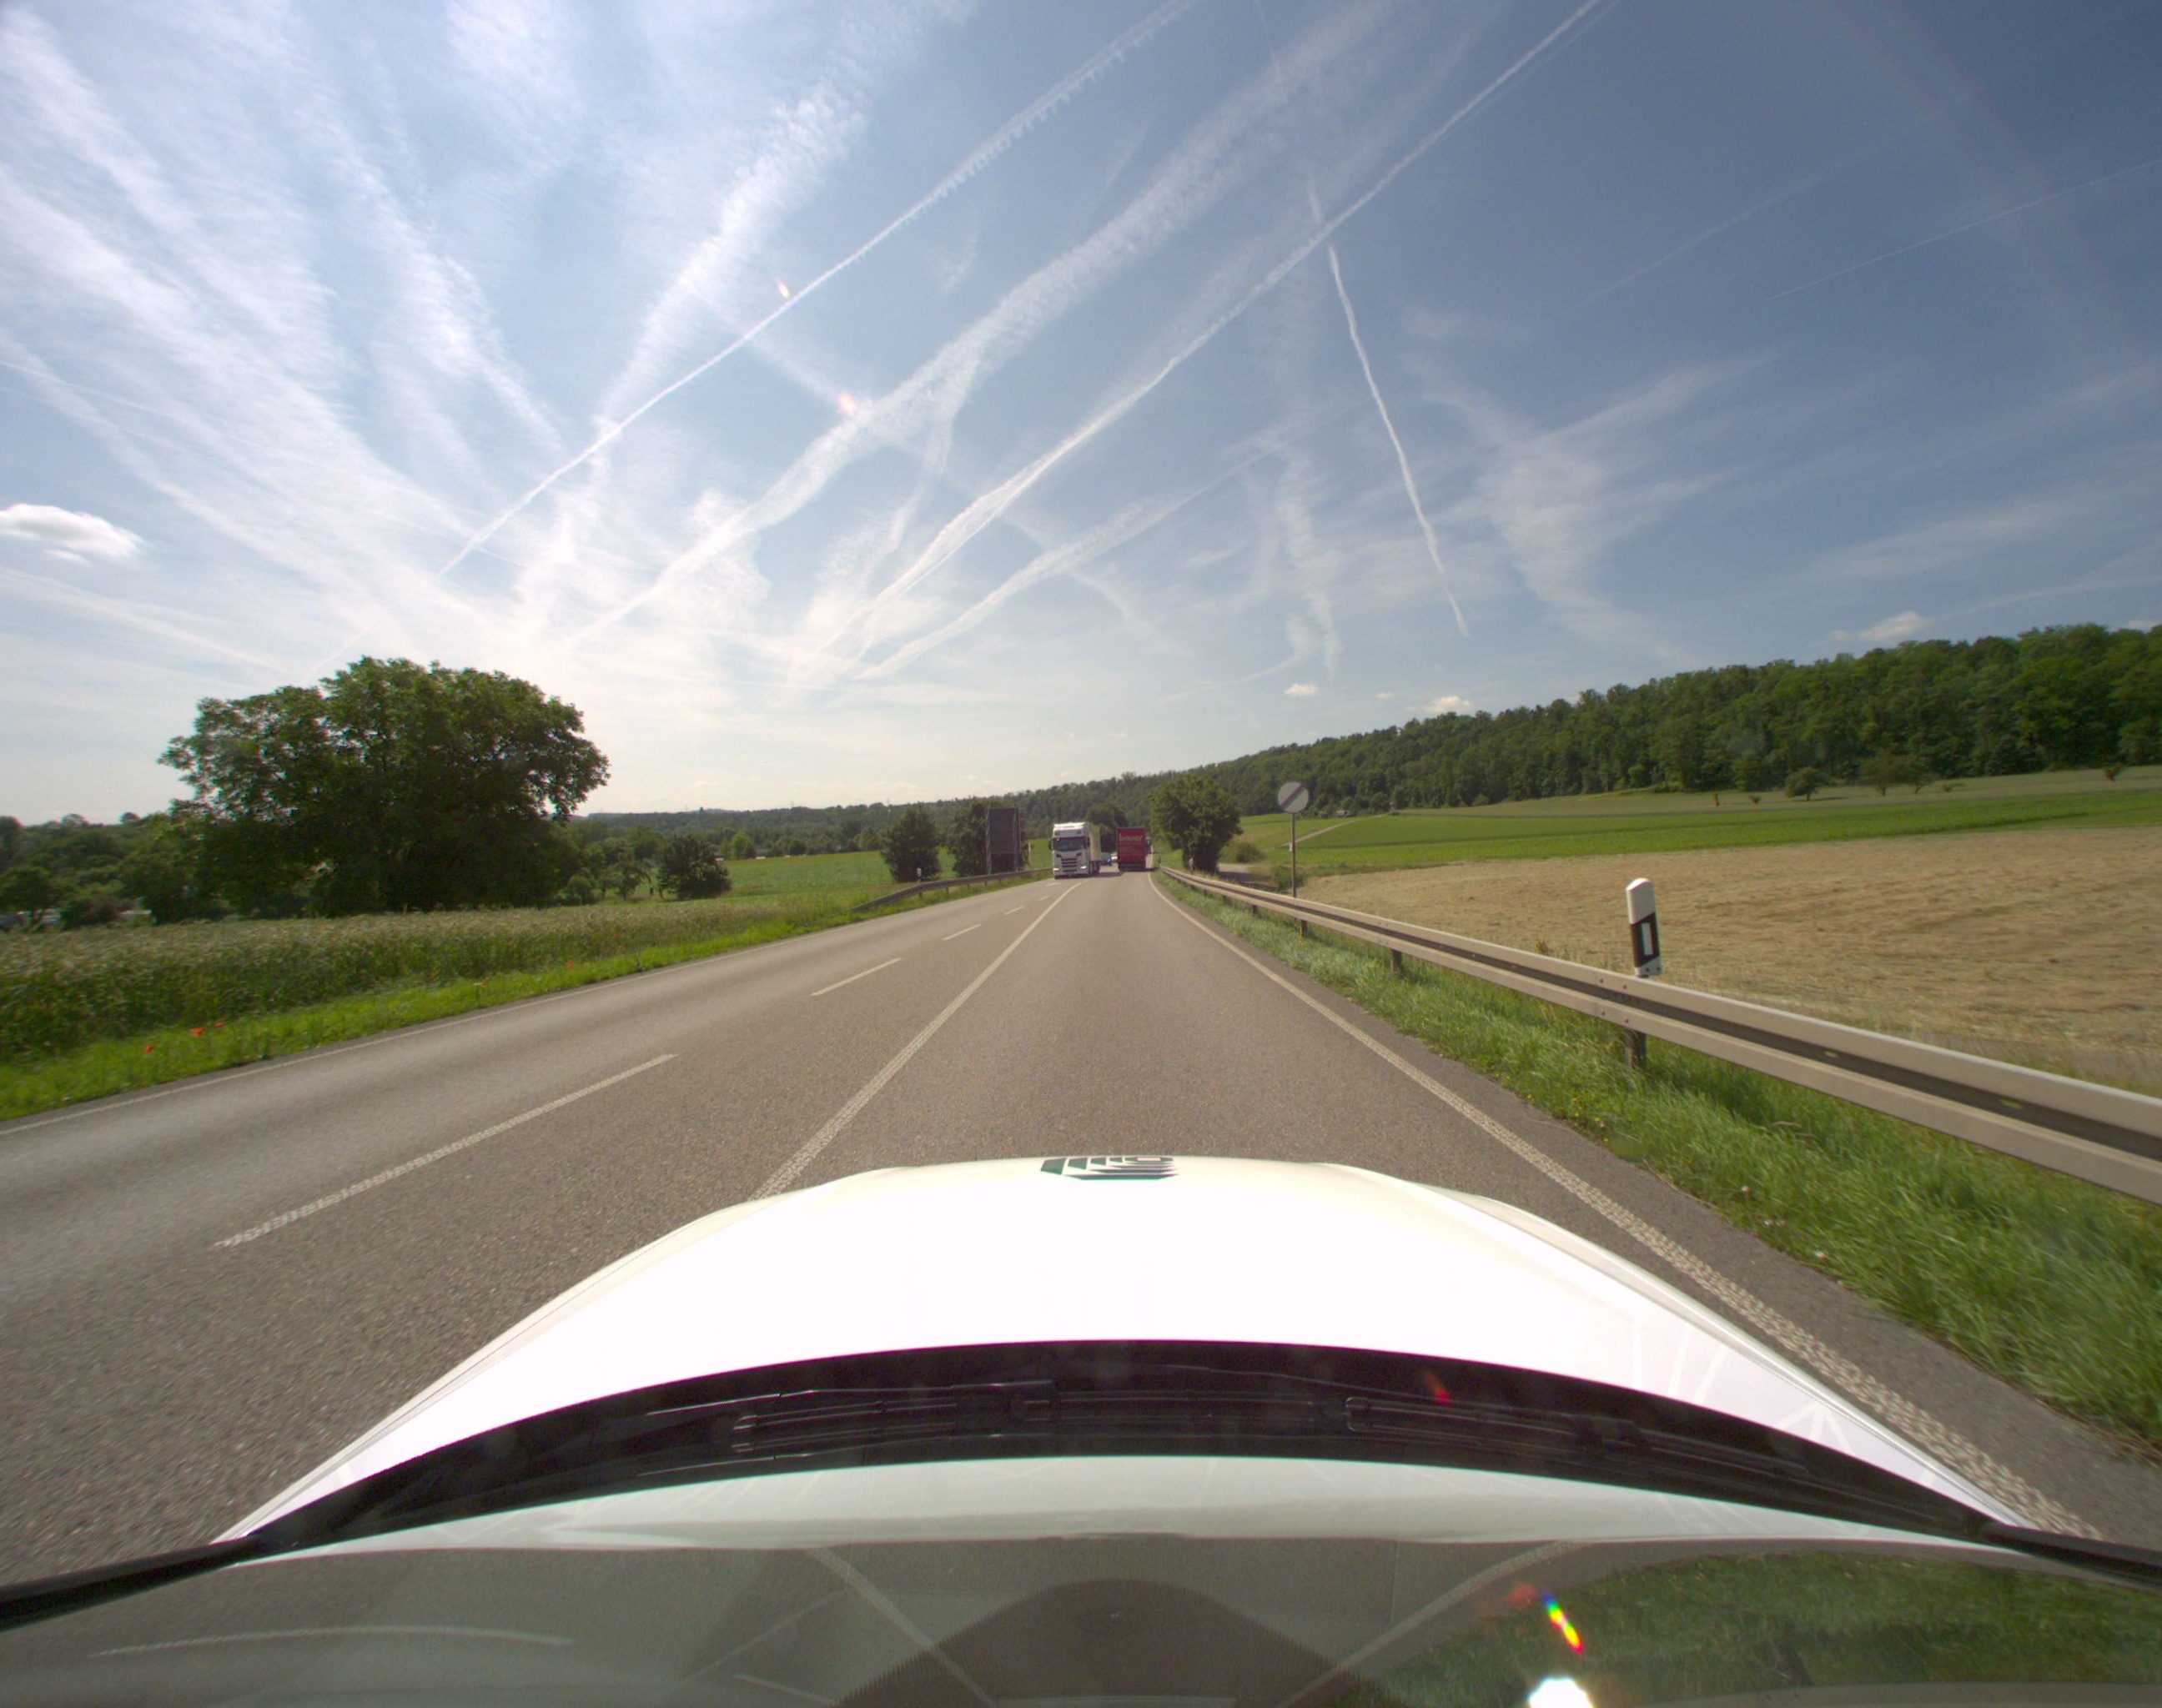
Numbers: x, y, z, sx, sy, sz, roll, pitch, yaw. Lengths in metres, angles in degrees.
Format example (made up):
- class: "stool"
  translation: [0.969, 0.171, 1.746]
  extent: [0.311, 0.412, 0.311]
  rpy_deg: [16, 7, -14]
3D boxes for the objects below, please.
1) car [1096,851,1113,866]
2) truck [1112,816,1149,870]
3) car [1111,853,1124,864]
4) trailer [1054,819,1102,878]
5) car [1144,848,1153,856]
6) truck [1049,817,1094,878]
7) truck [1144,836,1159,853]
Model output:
- class: "car"
  translation: [3.045, 0.604, 102.880]
  extent: [1.820, 1.722, 4.368]
  rpy_deg: [-4, 0, 4]
- class: "truck"
  translation: [4.724, -1.014, 78.499]
  extent: [3.159, 4.625, 13.554]
  rpy_deg: [-1, 0, 3]
- class: "car"
  translation: [5.539, 0.656, 124.342]
  extent: [1.723, 1.434, 3.921]
  rpy_deg: [-4, 0, 5]
- class: "trailer"
  translation: [-0.067, -0.400, 66.247]
  extent: [2.495, 4.119, 13.916]
  rpy_deg: [-3, 0, 5]
- class: "car"
  translation: [15.306, -0.419, 185.635]
  extent: [1.985, 1.810, 4.004]
  rpy_deg: [2, 0, 3]
- class: "truck"
  translation: [-0.611, -0.436, 59.563]
  extent: [2.518, 4.119, 6.029]
  rpy_deg: [-3, 0, 5]
- class: "truck"
  translation: [18.636, -2.479, 216.166]
  extent: [3.887, 4.369, 13.307]
  rpy_deg: [1, 0, 4]
